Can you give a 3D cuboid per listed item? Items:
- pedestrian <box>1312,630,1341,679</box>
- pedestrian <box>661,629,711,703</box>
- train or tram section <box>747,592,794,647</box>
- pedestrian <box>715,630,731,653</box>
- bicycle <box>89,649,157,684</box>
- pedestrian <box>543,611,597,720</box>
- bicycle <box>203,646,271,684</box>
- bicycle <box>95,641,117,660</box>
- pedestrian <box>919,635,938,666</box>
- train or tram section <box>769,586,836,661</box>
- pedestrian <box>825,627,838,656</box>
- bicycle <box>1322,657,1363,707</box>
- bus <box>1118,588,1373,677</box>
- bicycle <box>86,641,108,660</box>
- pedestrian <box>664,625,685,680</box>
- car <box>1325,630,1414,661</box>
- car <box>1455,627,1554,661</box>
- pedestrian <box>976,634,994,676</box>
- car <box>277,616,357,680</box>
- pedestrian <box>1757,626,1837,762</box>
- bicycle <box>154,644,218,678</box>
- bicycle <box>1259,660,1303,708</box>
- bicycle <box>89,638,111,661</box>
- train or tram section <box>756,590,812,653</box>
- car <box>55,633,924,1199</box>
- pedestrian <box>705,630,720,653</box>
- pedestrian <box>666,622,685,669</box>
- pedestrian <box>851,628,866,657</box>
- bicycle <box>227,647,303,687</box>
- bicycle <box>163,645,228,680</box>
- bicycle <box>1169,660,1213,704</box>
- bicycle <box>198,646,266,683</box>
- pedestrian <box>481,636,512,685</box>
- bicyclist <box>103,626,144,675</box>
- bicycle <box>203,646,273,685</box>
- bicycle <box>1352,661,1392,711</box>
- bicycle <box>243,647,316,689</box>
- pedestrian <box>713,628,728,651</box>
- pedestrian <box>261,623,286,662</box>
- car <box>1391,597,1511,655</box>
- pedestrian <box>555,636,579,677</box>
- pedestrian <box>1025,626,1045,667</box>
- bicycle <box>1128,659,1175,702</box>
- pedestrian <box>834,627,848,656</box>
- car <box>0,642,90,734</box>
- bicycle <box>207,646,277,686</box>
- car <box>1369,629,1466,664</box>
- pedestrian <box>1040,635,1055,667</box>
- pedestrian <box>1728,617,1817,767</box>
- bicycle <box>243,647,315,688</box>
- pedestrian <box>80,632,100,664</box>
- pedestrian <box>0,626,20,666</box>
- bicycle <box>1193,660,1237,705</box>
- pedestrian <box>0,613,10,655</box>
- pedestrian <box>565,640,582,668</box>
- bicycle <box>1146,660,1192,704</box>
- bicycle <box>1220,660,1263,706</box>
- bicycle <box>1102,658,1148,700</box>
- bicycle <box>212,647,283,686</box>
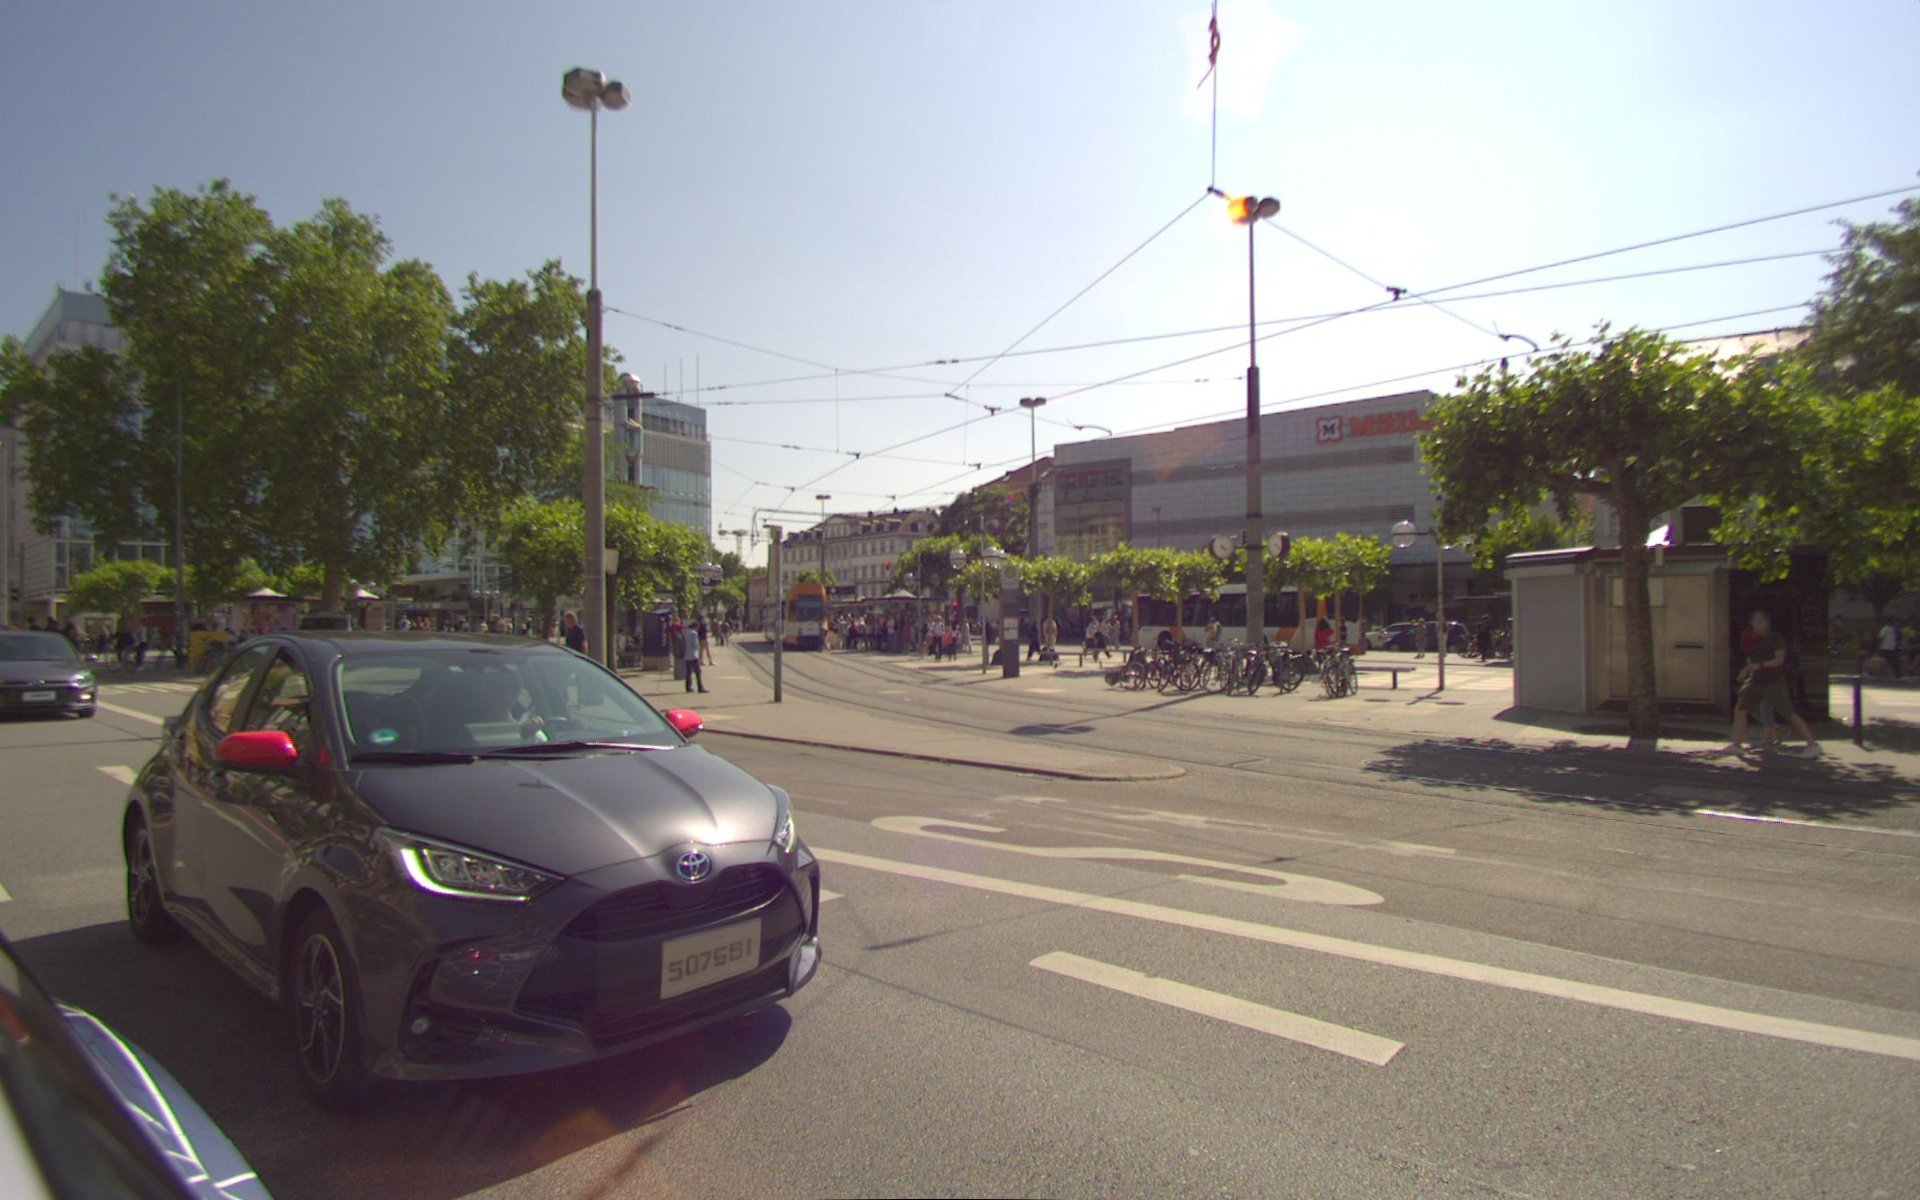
[{"bbox_3d":[11.087,1.652,30.661,0.617,1.477,0.680,0,-4,3],"label":"pedestrian"},{"bbox_3d":[-6.290,1.499,23.248,0.678,1.671,0.885,-2,-3,31],"label":"pedestrian"},{"bbox_3d":[-14.473,1.439,76.801,2.578,3.856,9.546,-2,0,-16],"label":"train or tram section"},{"bbox_3d":[-15.161,2.656,64.781,0.555,1.483,0.748,-2,0,40],"label":"pedestrian"},{"bbox_3d":[-26.599,2.092,32.133,2.616,1.030,0.823,-2,0,31],"label":"bicycle"},{"bbox_3d":[-7.415,1.238,19.274,0.670,2.023,0.895,1,-3,-3],"label":"pedestrian"},{"bbox_3d":[-23.407,2.094,32.777,0.482,1.156,1.735,-2,-2,39],"label":"bicycle"},{"bbox_3d":[-53.020,3.146,62.814,1.753,1.156,0.586,-2,-2,34],"label":"bicycle"},{"bbox_3d":[-1.498,2.403,48.343,0.615,1.477,0.681,4,-5,-43],"label":"pedestrian"},{"bbox_3d":[-9.235,1.275,58.440,2.578,3.856,9.546,-2,0,-16],"label":"train or tram section"},{"bbox_3d":[-7.240,2.349,57.075,0.568,1.561,0.682,2,-4,-23],"label":"pedestrian"},{"bbox_3d":[8.092,1.713,21.388,0.579,0.876,1.853,-2,0,28],"label":"bicycle"},{"bbox_3d":[12.417,1.385,46.034,3.014,3.445,12.497,-2,0,-30],"label":"bus"},{"bbox_3d":[-53.206,3.102,62.385,1.753,1.156,0.586,-2,-2,34],"label":"bicycle"},{"bbox_3d":[-9.322,1.715,33.026,0.614,1.759,0.682,1,-4,-15],"label":"pedestrian"},{"bbox_3d":[21.353,2.364,52.824,3.991,1.519,1.740,-2,0,35],"label":"car"},{"bbox_3d":[26.361,2.108,49.035,3.991,1.519,1.740,-2,0,35],"label":"car"},{"bbox_3d":[0.859,1.904,34.990,0.617,1.429,0.680,0,-4,3],"label":"pedestrian"},{"bbox_3d":[-22.719,1.612,35.925,1.966,2.029,5.083,-2,0,-28],"label":"car"},{"bbox_3d":[10.369,1.151,12.544,0.518,1.622,0.627,4,-5,-40],"label":"pedestrian"},{"bbox_3d":[-27.577,2.167,36.072,0.482,1.156,1.735,-2,-2,39],"label":"bicycle"},{"bbox_3d":[7.047,1.824,22.156,0.579,0.876,1.853,-2,0,28],"label":"bicycle"},{"bbox_3d":[-45.983,2.638,54.142,0.718,1.152,1.917,-2,0,-36],"label":"bicycle"},{"bbox_3d":[-11.871,1.358,67.612,2.578,3.856,9.546,-2,0,-16],"label":"train or tram section"},{"bbox_3d":[-2.240,0.895,4.354,3.994,1.486,1.760,-2,-3,38],"label":"car"},{"bbox_3d":[-15.993,2.672,65.416,0.555,1.483,0.748,-2,0,40],"label":"pedestrian"},{"bbox_3d":[-11.617,1.863,41.262,0.568,1.855,0.682,3,-5,-28],"label":"pedestrian"},{"bbox_3d":[-5.588,2.334,55.725,0.573,1.561,0.677,-1,-4,14],"label":"pedestrian"},{"bbox_3d":[-21.133,2.021,30.807,0.482,1.156,1.842,-2,-2,39],"label":"bicycle"},{"bbox_3d":[-26.501,2.158,35.097,0.482,1.156,1.735,-2,-2,39],"label":"bicycle"},{"bbox_3d":[5.416,1.896,23.669,0.544,0.862,1.853,-2,0,28],"label":"bicycle"},{"bbox_3d":[-23.926,2.110,33.289,0.482,1.156,1.735,-2,-2,39],"label":"bicycle"},{"bbox_3d":[-14.428,1.888,31.494,0.680,1.477,0.616,-3,-5,41],"label":"pedestrian"},{"bbox_3d":[-26.636,1.586,32.222,1.160,1.509,0.820,-2,0,42],"label":"bicyclist"},{"bbox_3d":[-23.040,2.082,32.320,0.482,1.156,1.735,-2,-2,39],"label":"bicycle"},{"bbox_3d":[8.601,1.775,21.119,0.579,0.876,1.853,-2,0,28],"label":"bicycle"},{"bbox_3d":[-20.096,1.991,29.934,0.482,1.156,1.735,-2,-2,39],"label":"bicycle"},{"bbox_3d":[-15.904,2.611,67.215,0.555,1.483,0.748,-2,0,40],"label":"pedestrian"},{"bbox_3d":[-26.687,1.642,39.362,0.570,1.472,0.788,-2,0,-16],"label":"pedestrian"},{"bbox_3d":[25.819,1.378,53.269,5.387,2.909,1.936,-2,0,35],"label":"car"},{"bbox_3d":[-14.230,2.048,36.643,0.716,1.477,0.682,3,-5,-28],"label":"pedestrian"},{"bbox_3d":[2.929,1.808,39.389,0.530,1.565,0.592,-3,-6,43],"label":"pedestrian"},{"bbox_3d":[4.642,1.920,24.434,0.580,0.878,1.853,-2,0,28],"label":"bicycle"},{"bbox_3d":[-6.571,2.303,55.840,0.573,1.561,0.677,-1,-4,14],"label":"pedestrian"},{"bbox_3d":[-16.335,1.442,17.307,3.999,1.415,1.677,-2,-3,42],"label":"car"},{"bbox_3d":[-22.626,2.070,31.924,0.482,1.156,1.735,-2,-2,39],"label":"bicycle"},{"bbox_3d":[21.993,2.215,48.685,3.991,1.519,1.740,-2,0,35],"label":"car"},{"bbox_3d":[4.166,2.422,47.996,0.672,1.477,0.623,0,-4,7],"label":"pedestrian"},{"bbox_3d":[9.751,1.092,12.171,0.581,1.747,0.524,0,-4,11],"label":"pedestrian"},{"bbox_3d":[-20.427,2.002,30.366,0.482,1.156,1.735,-2,-2,39],"label":"bicycle"},{"bbox_3d":[-46.306,2.560,53.881,0.721,1.683,0.641,-2,0,-36],"label":"pedestrian"},{"bbox_3d":[-42.789,2.058,45.393,0.731,1.760,0.743,-2,0,31],"label":"pedestrian"},{"bbox_3d":[5.846,1.871,23.141,0.544,0.862,1.853,-2,0,28],"label":"bicycle"},{"bbox_3d":[-40.750,1.440,42.719,0.882,1.760,0.715,-2,0,31],"label":"pedestrian"},{"bbox_3d":[-17.416,2.425,45.586,0.483,1.262,0.491,-2,0,39],"label":"pedestrian"},{"bbox_3d":[4.970,1.922,23.995,0.544,0.862,1.853,-2,0,28],"label":"bicycle"},{"bbox_3d":[6.345,1.851,22.765,0.544,0.862,1.853,-2,0,28],"label":"bicycle"},{"bbox_3d":[4.068,1.920,24.840,0.544,0.862,1.853,-2,0,28],"label":"bicycle"},{"bbox_3d":[-22.076,2.046,31.394,0.482,1.156,1.735,-2,-2,39],"label":"bicycle"}]
